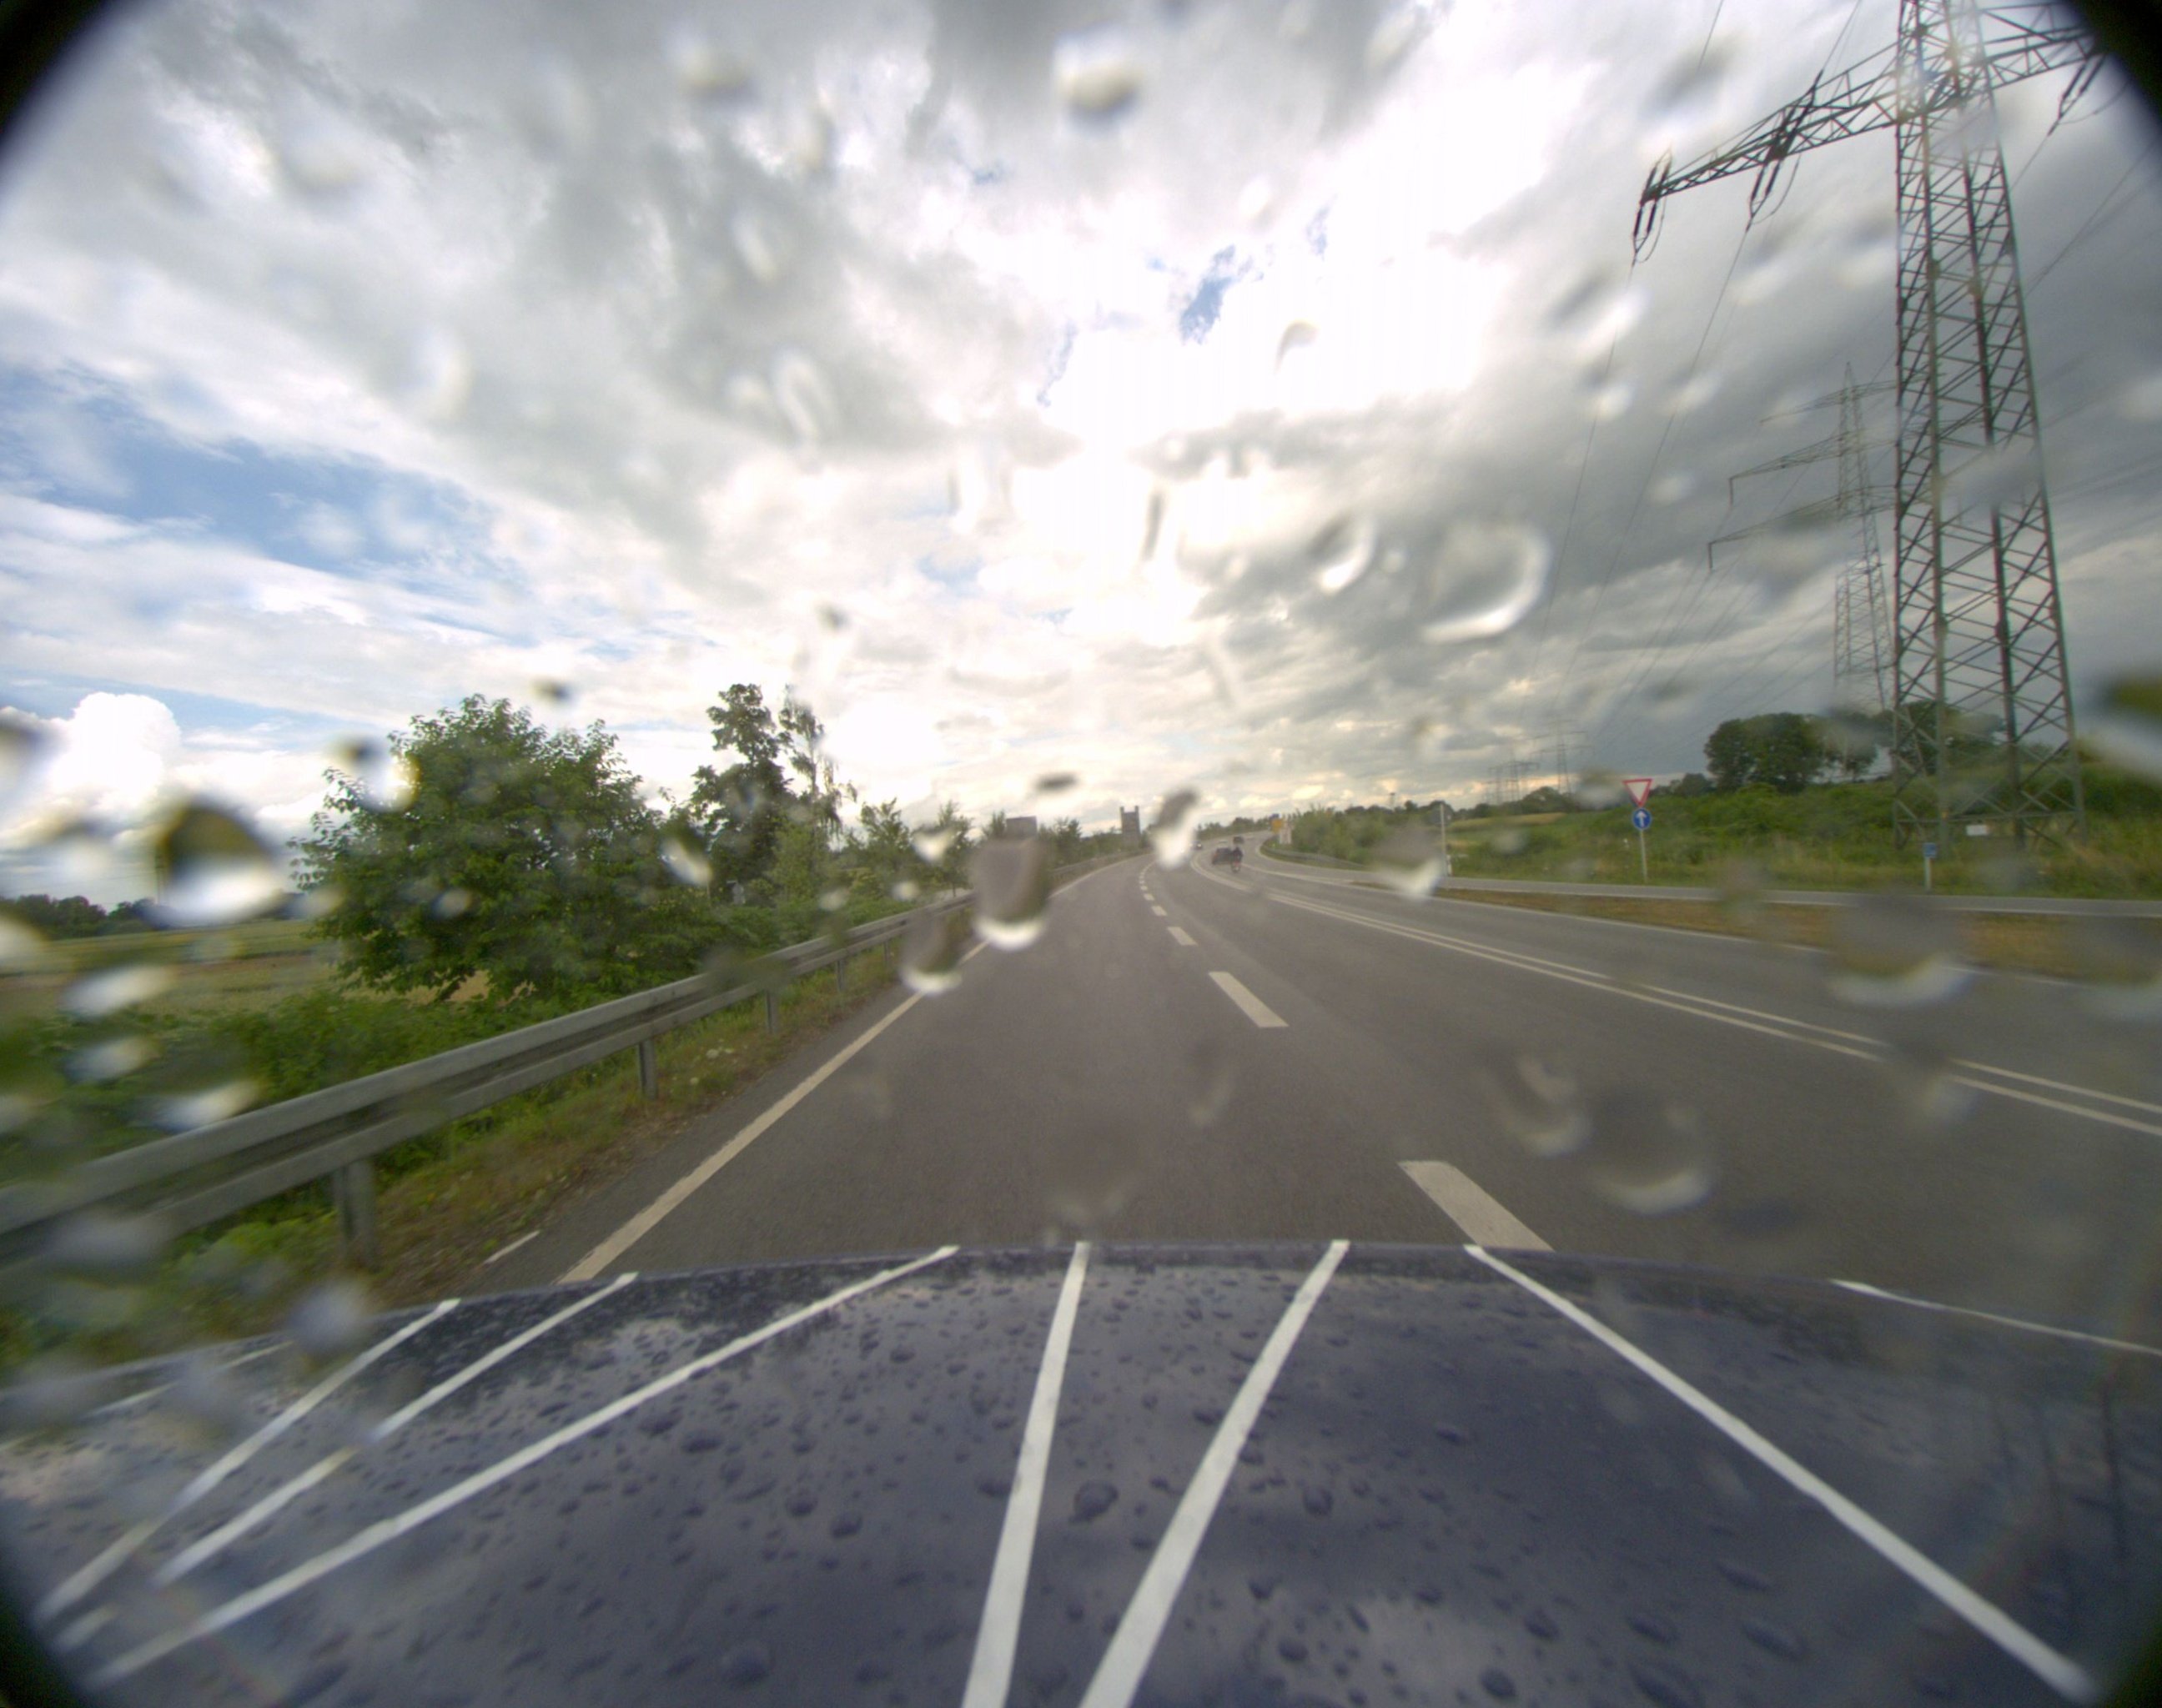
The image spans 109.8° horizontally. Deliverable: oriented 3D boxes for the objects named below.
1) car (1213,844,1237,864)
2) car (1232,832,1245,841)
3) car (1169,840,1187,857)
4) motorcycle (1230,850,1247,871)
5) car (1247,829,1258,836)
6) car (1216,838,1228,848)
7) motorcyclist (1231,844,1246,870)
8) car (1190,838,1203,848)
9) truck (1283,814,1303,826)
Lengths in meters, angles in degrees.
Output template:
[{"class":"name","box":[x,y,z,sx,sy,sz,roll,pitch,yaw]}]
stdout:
[{"class":"car","box":[12.385,-0.064,65.105,1.802,1.584,4.229,-2,1,14]},{"class":"car","box":[30.010,-3.351,144.890,1.801,1.566,4.264,0,2,19]},{"class":"car","box":[10.492,-0.605,81.835,1.795,1.758,4.002,-3,1,8]},{"class":"motorcycle","box":[9.596,0.397,46.352,0.803,1.231,2.186,-2,0,7]},{"class":"car","box":[38.530,-4.891,170.681,1.680,1.449,4.081,2,3,26]},{"class":"car","box":[22.140,-1.765,119.100,1.708,1.472,4.612,-2,2,10]},{"class":"motorcyclist","box":[9.572,0.172,46.299,0.803,1.526,0.825,-2,1,8]},{"class":"car","box":[19.078,-1.822,125.111,1.747,1.488,4.053,-3,1,14]},{"class":"truck","box":[57.272,-9.212,205.116,2.257,3.138,6.702,1,3,43]}]
